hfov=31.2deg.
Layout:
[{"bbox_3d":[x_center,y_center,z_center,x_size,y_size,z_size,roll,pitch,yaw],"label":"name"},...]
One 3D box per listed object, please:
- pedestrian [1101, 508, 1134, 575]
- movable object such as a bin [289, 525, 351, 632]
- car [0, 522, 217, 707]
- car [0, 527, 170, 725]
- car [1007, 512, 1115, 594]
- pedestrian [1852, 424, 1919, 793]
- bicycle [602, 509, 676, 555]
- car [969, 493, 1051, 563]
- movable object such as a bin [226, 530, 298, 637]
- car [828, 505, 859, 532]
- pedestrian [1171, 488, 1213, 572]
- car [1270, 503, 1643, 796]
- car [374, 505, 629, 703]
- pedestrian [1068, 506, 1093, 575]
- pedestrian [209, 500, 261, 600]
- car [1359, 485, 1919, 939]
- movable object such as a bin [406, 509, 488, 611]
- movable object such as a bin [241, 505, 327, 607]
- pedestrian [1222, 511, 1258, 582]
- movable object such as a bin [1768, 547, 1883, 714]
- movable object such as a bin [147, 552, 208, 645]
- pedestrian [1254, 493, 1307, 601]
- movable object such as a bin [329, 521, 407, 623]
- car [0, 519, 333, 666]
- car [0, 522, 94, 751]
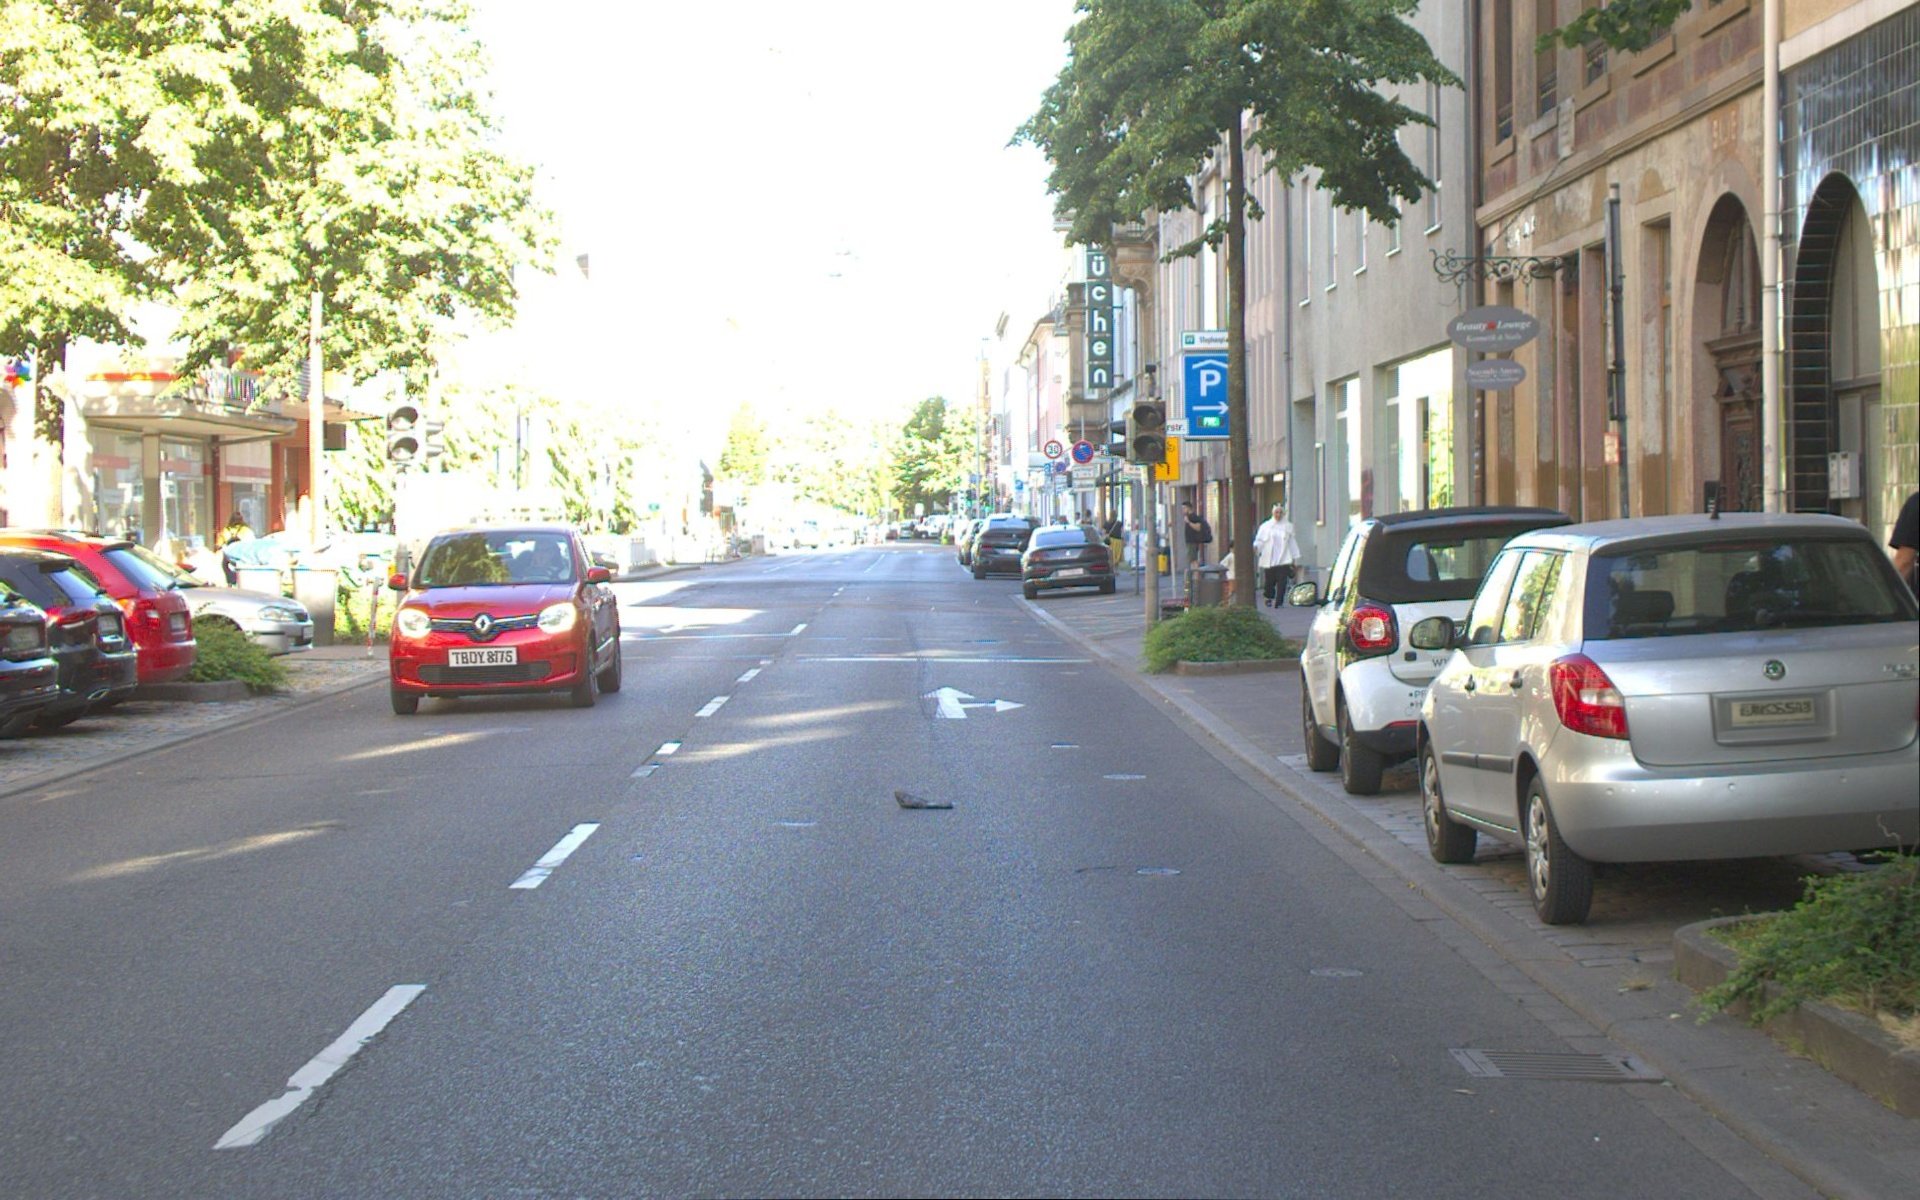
[{"bbox_3d":[4.036,-1.498,88.098,0.801,1.669,0.589,-2,1,2],"label":"pedestrian"},{"bbox_3d":[-8.120,-0.281,43.622,0.634,1.336,0.805,-1,1,-2],"label":"movable object such as a bin"},{"bbox_3d":[-8.214,0.092,28.488,3.748,1.463,1.740,0,1,-1],"label":"car"},{"bbox_3d":[-8.107,0.161,25.980,3.841,1.424,1.790,0,1,1],"label":"car"},{"bbox_3d":[2.021,-0.988,69.887,1.917,1.473,4.965,-4,2,0],"label":"car"},{"bbox_3d":[4.802,0.021,16.804,0.623,1.759,0.771,-3,1,0],"label":"pedestrian"},{"bbox_3d":[-14.119,-3.014,151.415,3.122,2.007,0.908,0,1,9],"label":"bicycle"},{"bbox_3d":[1.273,-1.898,89.337,1.973,1.719,4.824,1,2,0],"label":"car"},{"bbox_3d":[-8.842,-0.211,43.592,0.754,1.336,0.805,-1,1,-2],"label":"movable object such as a bin"},{"bbox_3d":[-8.151,-5.723,240.715,1.993,1.765,4.000,1,2,1],"label":"car"},{"bbox_3d":[4.628,-1.400,68.595,0.691,1.630,0.889,-3,1,-1],"label":"pedestrian"},{"bbox_3d":[2.824,0.230,20.107,1.613,1.523,3.061,-2,1,-1],"label":"car"},{"bbox_3d":[-3.840,-0.018,29.318,1.658,1.529,3.761,-2,1,0],"label":"car"},{"bbox_3d":[3.085,-1.533,88.179,0.620,1.760,0.518,0,1,2],"label":"pedestrian"},{"bbox_3d":[-12.124,-0.841,57.502,0.665,1.653,1.037,0,1,-1],"label":"pedestrian"},{"bbox_3d":[2.809,0.341,14.321,1.613,1.523,4.235,-3,2,-1],"label":"car"},{"bbox_3d":[-7.554,-0.593,50.658,1.042,1.466,1.143,-1,1,-2],"label":"movable object such as a bin"},{"bbox_3d":[-9.946,-0.652,50.635,1.042,1.466,1.143,-1,1,-2],"label":"movable object such as a bin"},{"bbox_3d":[4.165,-0.792,51.158,0.393,1.030,0.740,-3,1,-2],"label":"pedestrian"},{"bbox_3d":[5.589,0.189,22.220,0.522,1.036,0.722,-3,1,0],"label":"movable object such as a bin"},{"bbox_3d":[-9.144,-0.025,40.196,0.531,1.065,0.805,-1,1,-2],"label":"movable object such as a bin"},{"bbox_3d":[4.771,-0.789,51.152,0.580,1.554,1.021,-3,1,-2],"label":"pedestrian"},{"bbox_3d":[-8.699,-0.420,50.567,0.964,1.466,1.143,0,1,-2],"label":"movable object such as a bin"},{"bbox_3d":[-8.808,-0.101,35.811,4.203,1.463,1.740,0,1,2],"label":"car"},{"bbox_3d":[-8.039,0.203,23.239,3.919,1.480,1.771,0,1,1],"label":"car"}]
